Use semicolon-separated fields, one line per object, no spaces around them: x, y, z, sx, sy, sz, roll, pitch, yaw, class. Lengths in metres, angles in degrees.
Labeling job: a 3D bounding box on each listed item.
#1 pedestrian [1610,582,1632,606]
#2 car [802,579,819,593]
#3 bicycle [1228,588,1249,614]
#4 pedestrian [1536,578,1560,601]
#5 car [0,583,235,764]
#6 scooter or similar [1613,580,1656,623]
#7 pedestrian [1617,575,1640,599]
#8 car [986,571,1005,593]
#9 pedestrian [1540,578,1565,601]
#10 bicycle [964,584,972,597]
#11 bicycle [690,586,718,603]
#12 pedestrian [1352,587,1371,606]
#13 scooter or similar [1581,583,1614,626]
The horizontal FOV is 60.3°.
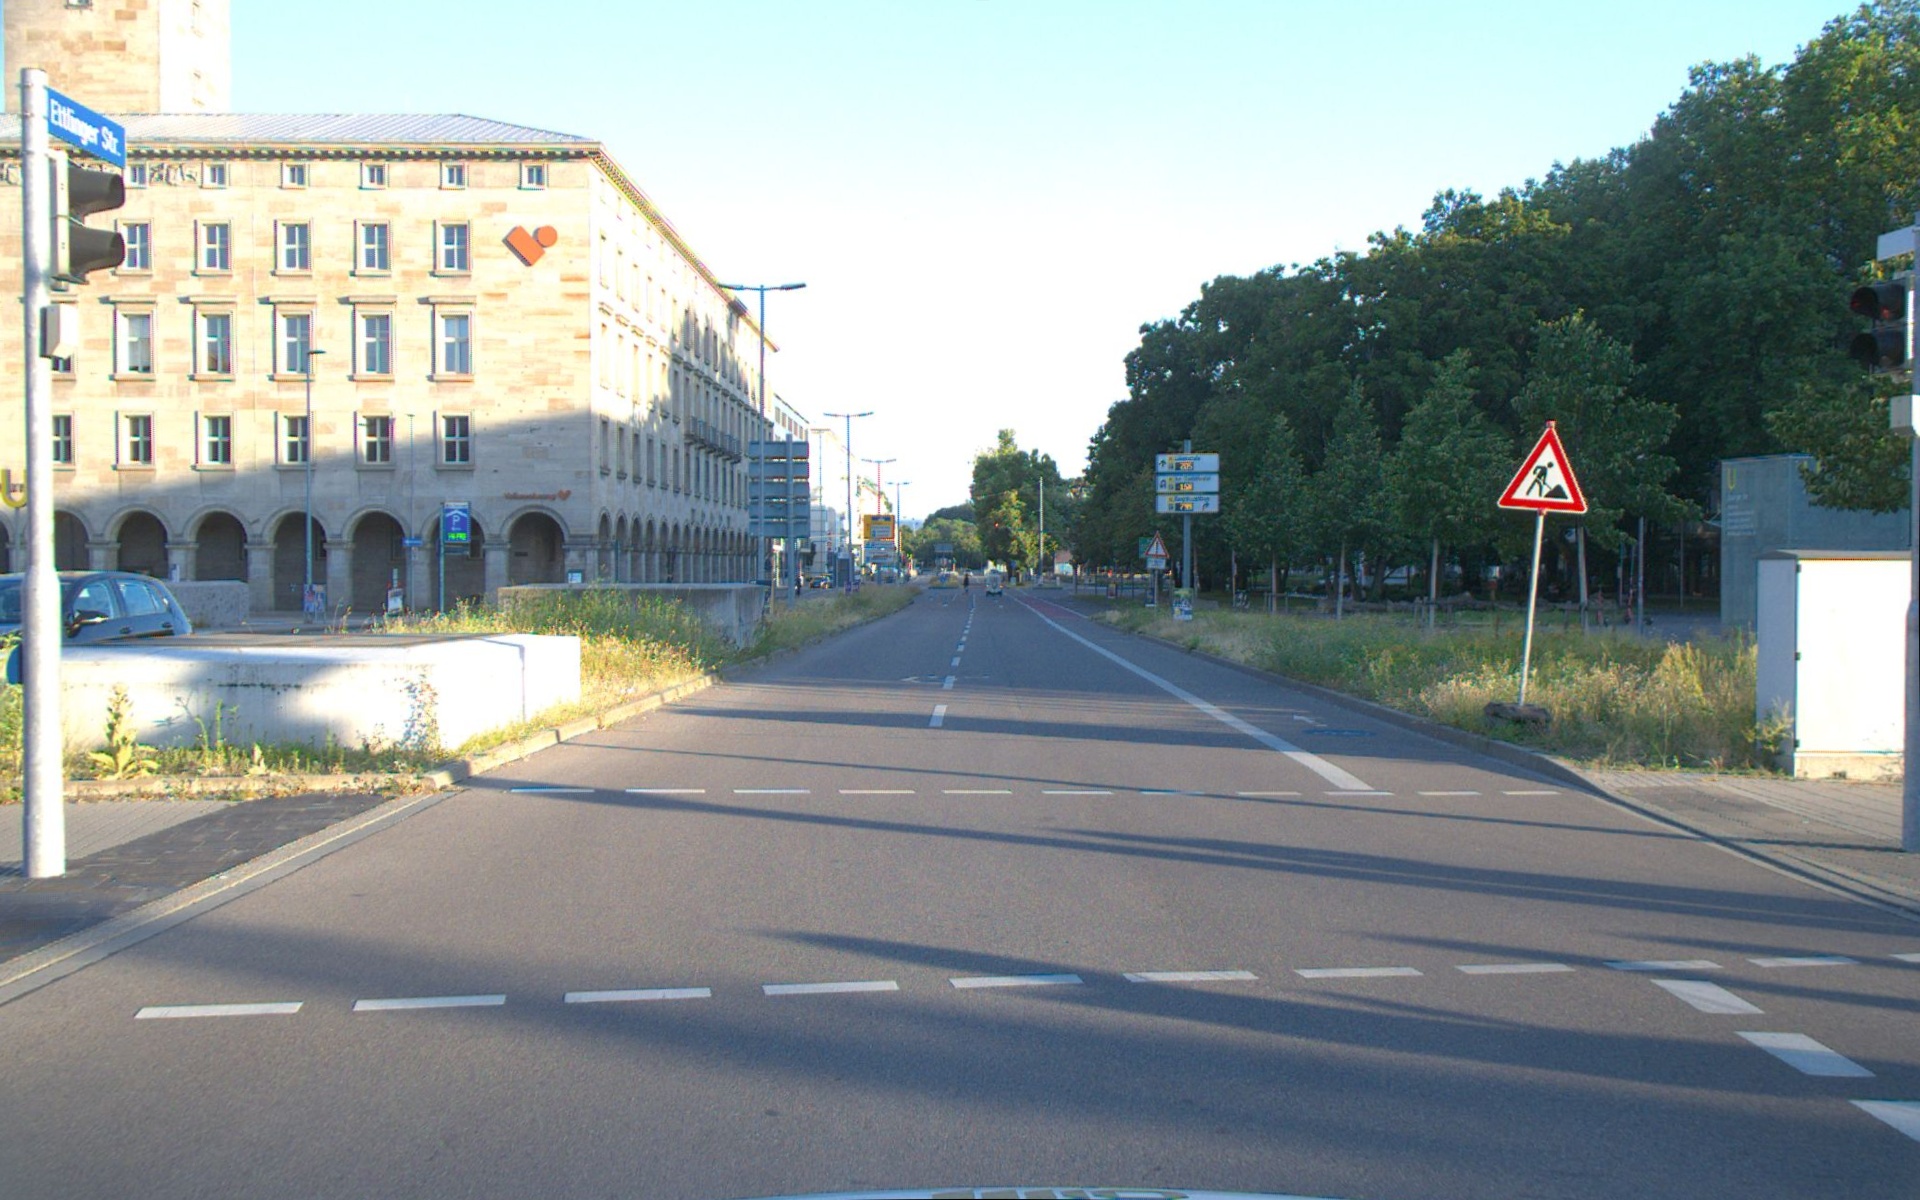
33.075;-0.282;82.802;0.771;1.184;0.766;0;0;-6;pedestrian
-17.647;-1.632;195.299;1.759;1.501;3.999;0;-2;-1;car
11.598;0.045;68.883;0.484;1.023;1.899;-3;1;20;bicycle
33.087;-0.613;93.084;1.108;1.282;0.726;0;1;2;pedestrian
-8.954;0.597;16.104;1.848;1.491;4.537;0;1;-1;car
20.152;0.024;49.433;0.464;1.241;1.572;-3;1;-6;scooter or similar
33.094;-0.651;81.907;0.771;1.184;0.766;0;0;-6;pedestrian
2.861;-1.475;133.815;1.429;1.812;2.565;0;1;2;car
32.987;-0.589;92.133;1.108;1.282;0.906;0;1;2;pedestrian
0.671;-0.806;137.972;0.624;1.087;2.069;0;1;0;bicycle
-16.337;-0.352;105.504;0.469;1.023;1.998;0;1;36;bicycle
19.592;-0.172;80.687;0.669;0.900;0.619;-1;1;-22;pedestrian
19.013;0.126;49.349;0.415;1.241;1.399;-3;1;1;scooter or similar
